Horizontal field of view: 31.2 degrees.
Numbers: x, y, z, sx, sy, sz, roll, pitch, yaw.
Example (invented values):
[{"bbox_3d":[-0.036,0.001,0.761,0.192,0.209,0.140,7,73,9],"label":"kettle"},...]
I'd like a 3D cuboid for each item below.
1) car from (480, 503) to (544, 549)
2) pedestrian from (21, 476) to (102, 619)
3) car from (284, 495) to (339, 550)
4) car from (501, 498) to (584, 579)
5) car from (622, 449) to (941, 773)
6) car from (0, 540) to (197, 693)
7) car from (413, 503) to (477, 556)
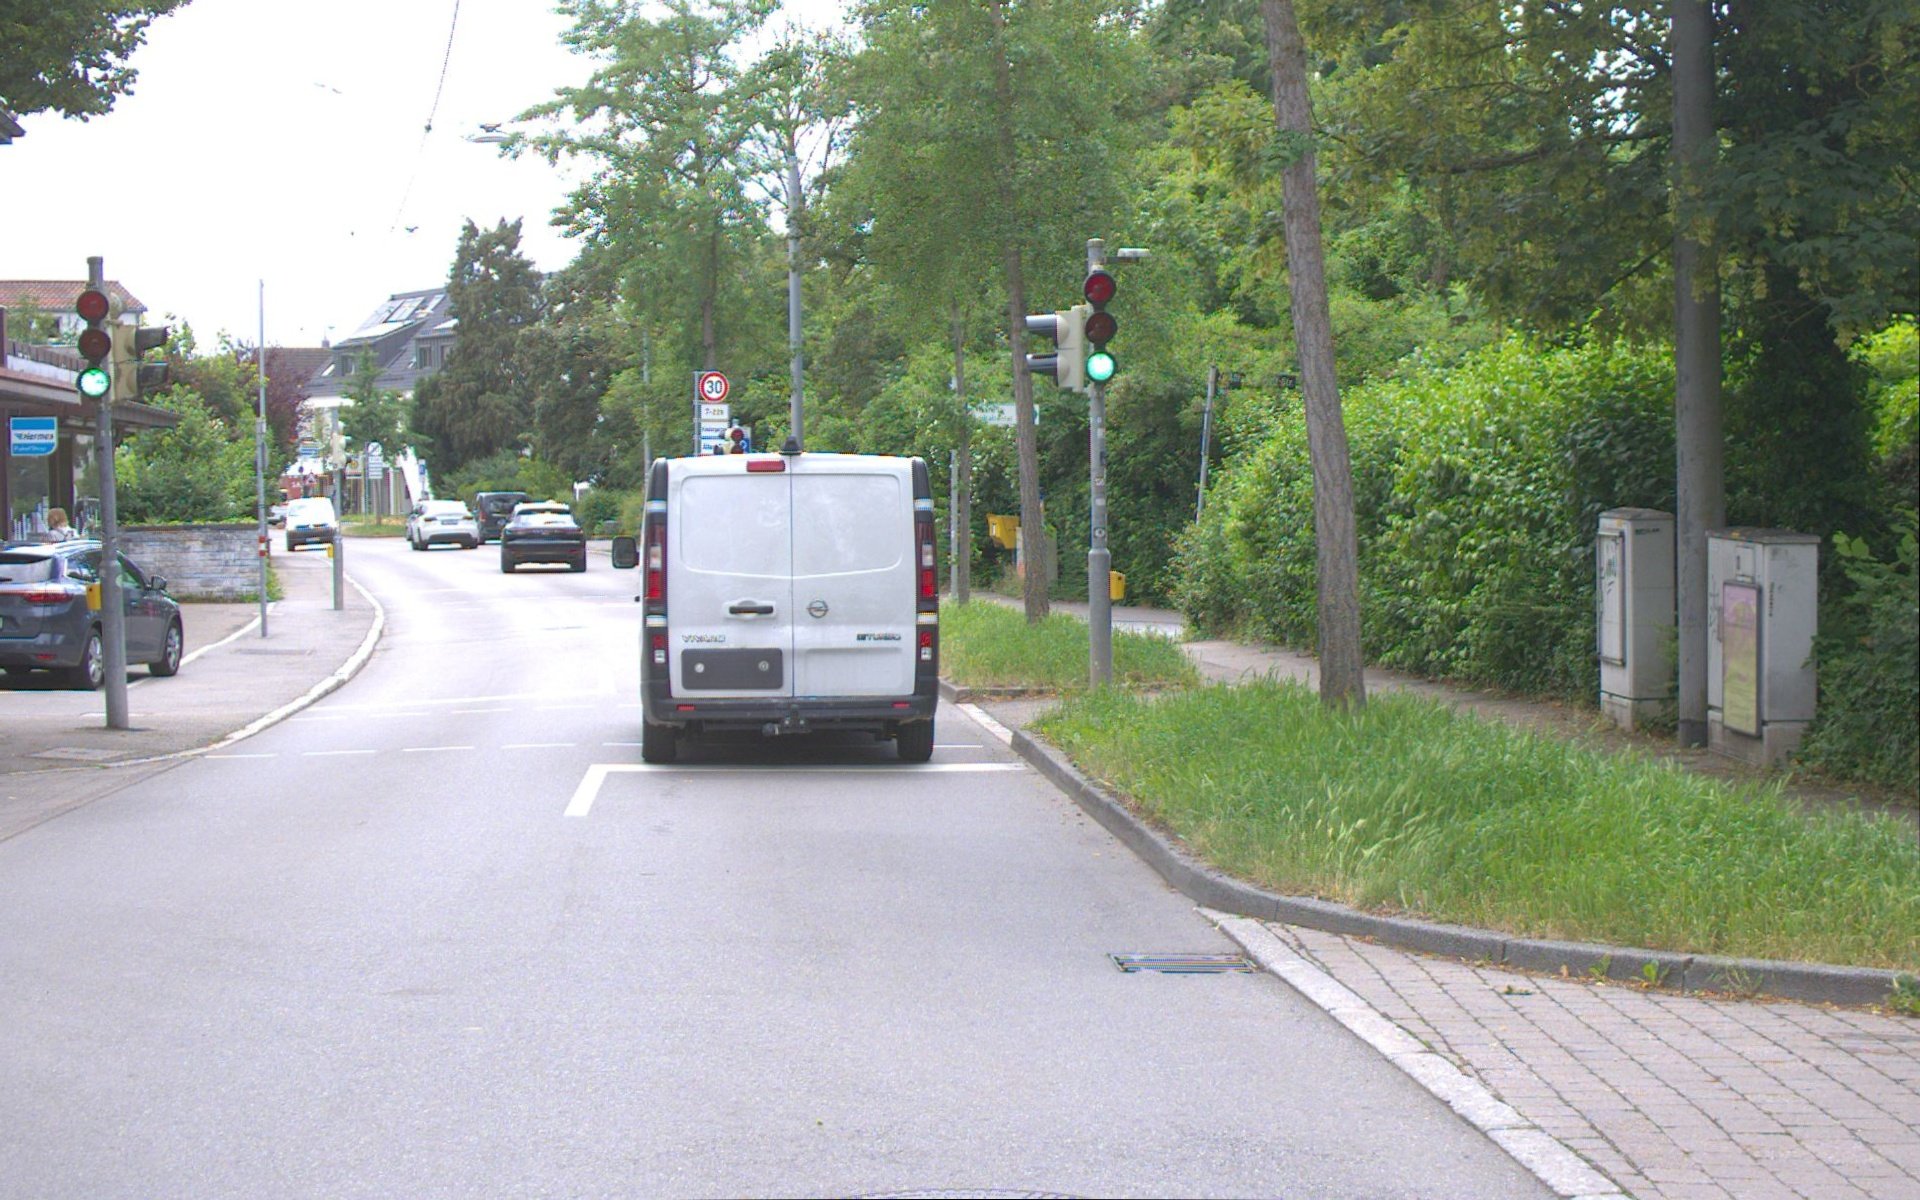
[{"bbox_3d":[-16.004,-2.637,122.629,1.893,1.605,4.502,0,1,-12],"label":"car"},{"bbox_3d":[-11.127,-0.652,42.587,0.882,1.744,0.964,1,1,-11],"label":"pedestrian"},{"bbox_3d":[-24.435,-2.925,129.410,1.867,1.904,5.117,-3,3,-11],"label":"car"},{"bbox_3d":[-9.837,-1.470,81.148,1.896,1.853,4.405,0,1,-6],"label":"car"},{"bbox_3d":[-1.274,0.010,23.023,1.929,1.957,4.403,0,1,-5],"label":"car"},{"bbox_3d":[-9.264,0.121,34.910,1.779,1.436,4.525,1,1,3],"label":"car"},{"bbox_3d":[-17.207,-2.366,114.840,1.824,1.722,4.001,0,1,-13],"label":"car"}]
